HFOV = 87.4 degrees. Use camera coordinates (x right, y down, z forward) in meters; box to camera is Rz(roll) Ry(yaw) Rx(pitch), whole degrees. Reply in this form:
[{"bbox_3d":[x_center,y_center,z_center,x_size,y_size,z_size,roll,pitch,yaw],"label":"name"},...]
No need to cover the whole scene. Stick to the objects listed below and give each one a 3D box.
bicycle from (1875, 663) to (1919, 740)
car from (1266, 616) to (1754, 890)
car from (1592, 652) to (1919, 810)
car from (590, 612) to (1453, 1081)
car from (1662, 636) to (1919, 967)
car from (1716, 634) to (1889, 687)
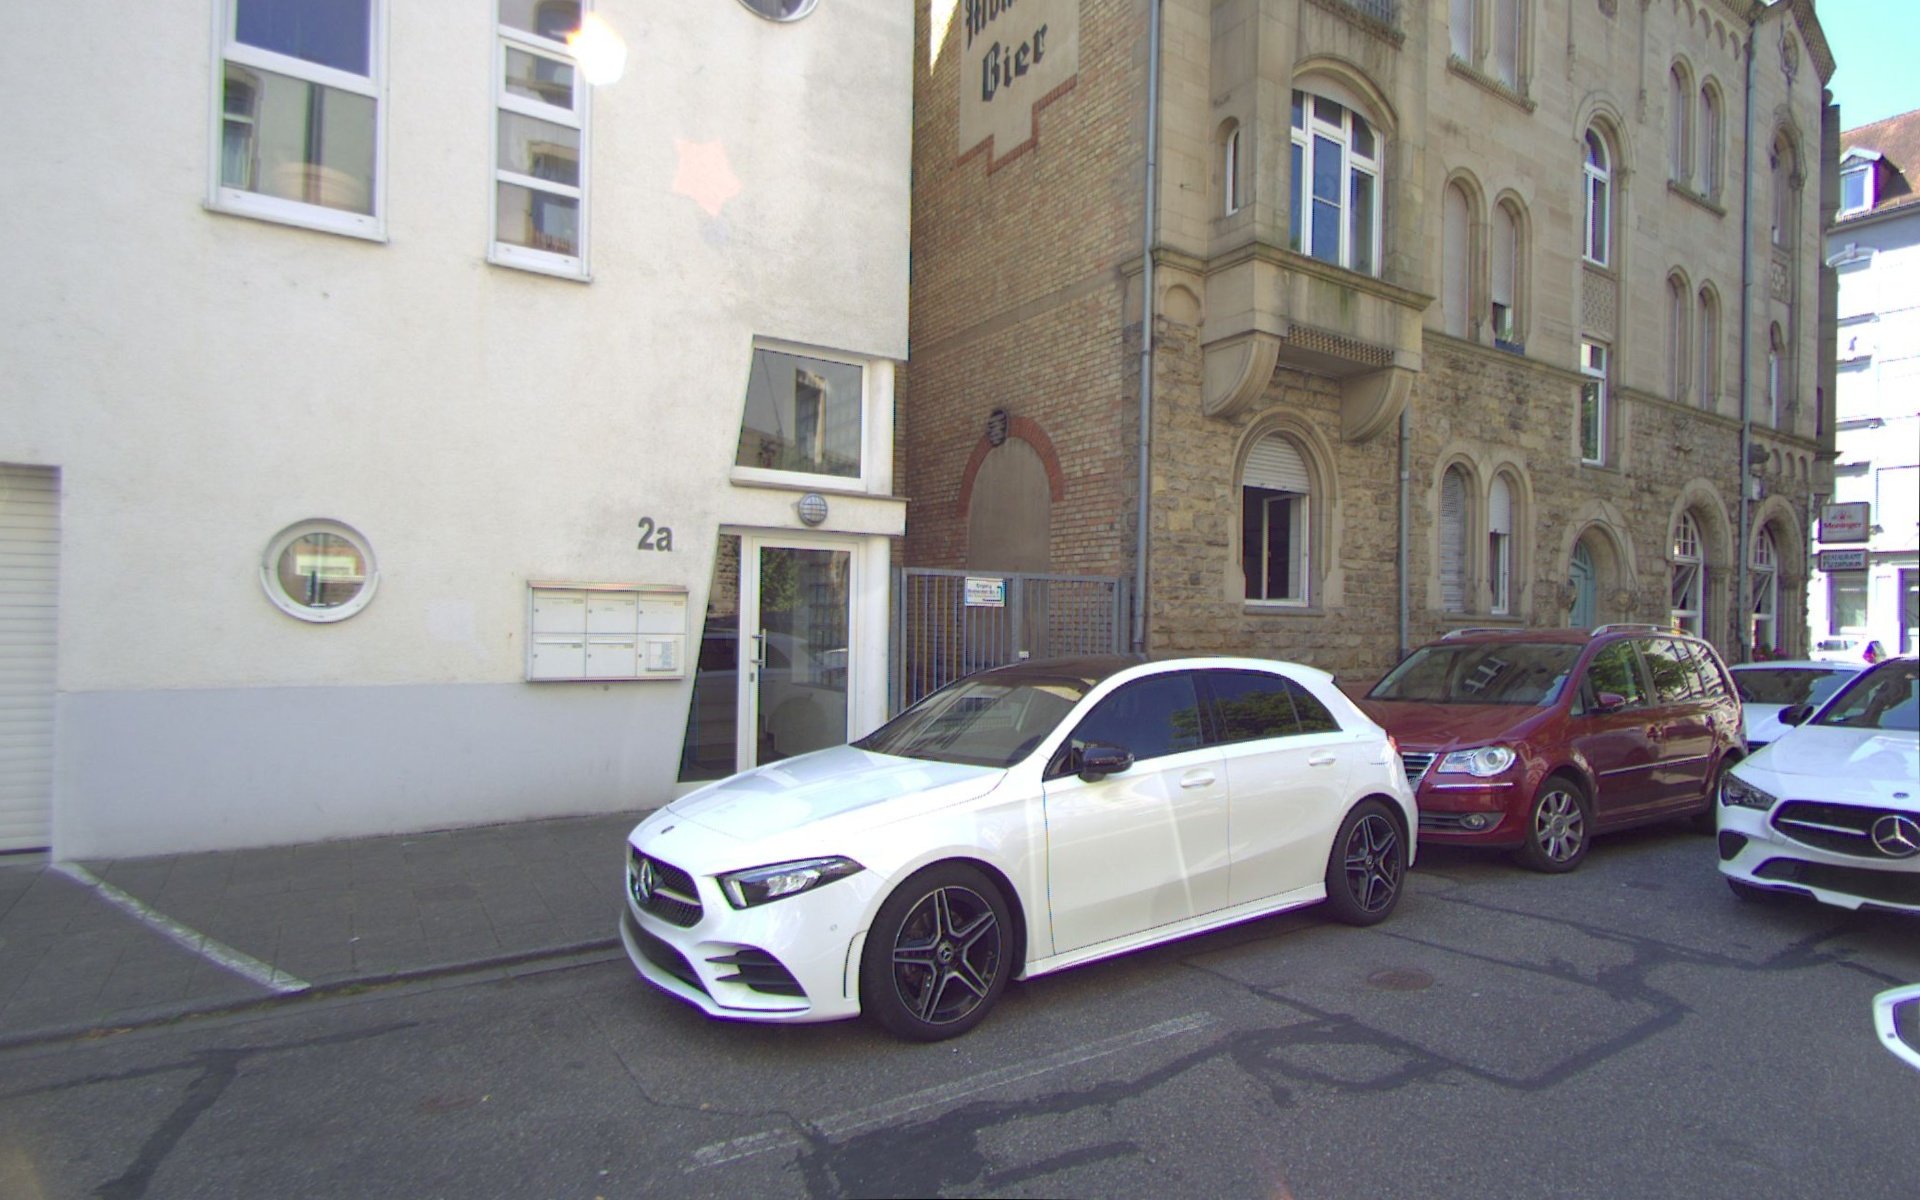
[{"bbox_3d":[14.077,1.490,14.140,0.410,1.059,1.692,2,1,-36],"label":"bicycle"},{"bbox_3d":[4.340,0.993,7.744,4.011,1.603,1.662,2,-4,-34],"label":"car"},{"bbox_3d":[8.704,1.242,10.741,4.470,1.370,1.691,2,-4,-35],"label":"car"},{"bbox_3d":[0.517,0.881,5.148,4.236,1.479,1.765,2,-4,-35],"label":"car"},{"bbox_3d":[6.058,0.966,5.761,4.315,1.480,1.831,2,-3,-33],"label":"car"},{"bbox_3d":[27.451,1.925,32.848,1.788,1.582,4.023,2,-2,-33],"label":"car"}]
